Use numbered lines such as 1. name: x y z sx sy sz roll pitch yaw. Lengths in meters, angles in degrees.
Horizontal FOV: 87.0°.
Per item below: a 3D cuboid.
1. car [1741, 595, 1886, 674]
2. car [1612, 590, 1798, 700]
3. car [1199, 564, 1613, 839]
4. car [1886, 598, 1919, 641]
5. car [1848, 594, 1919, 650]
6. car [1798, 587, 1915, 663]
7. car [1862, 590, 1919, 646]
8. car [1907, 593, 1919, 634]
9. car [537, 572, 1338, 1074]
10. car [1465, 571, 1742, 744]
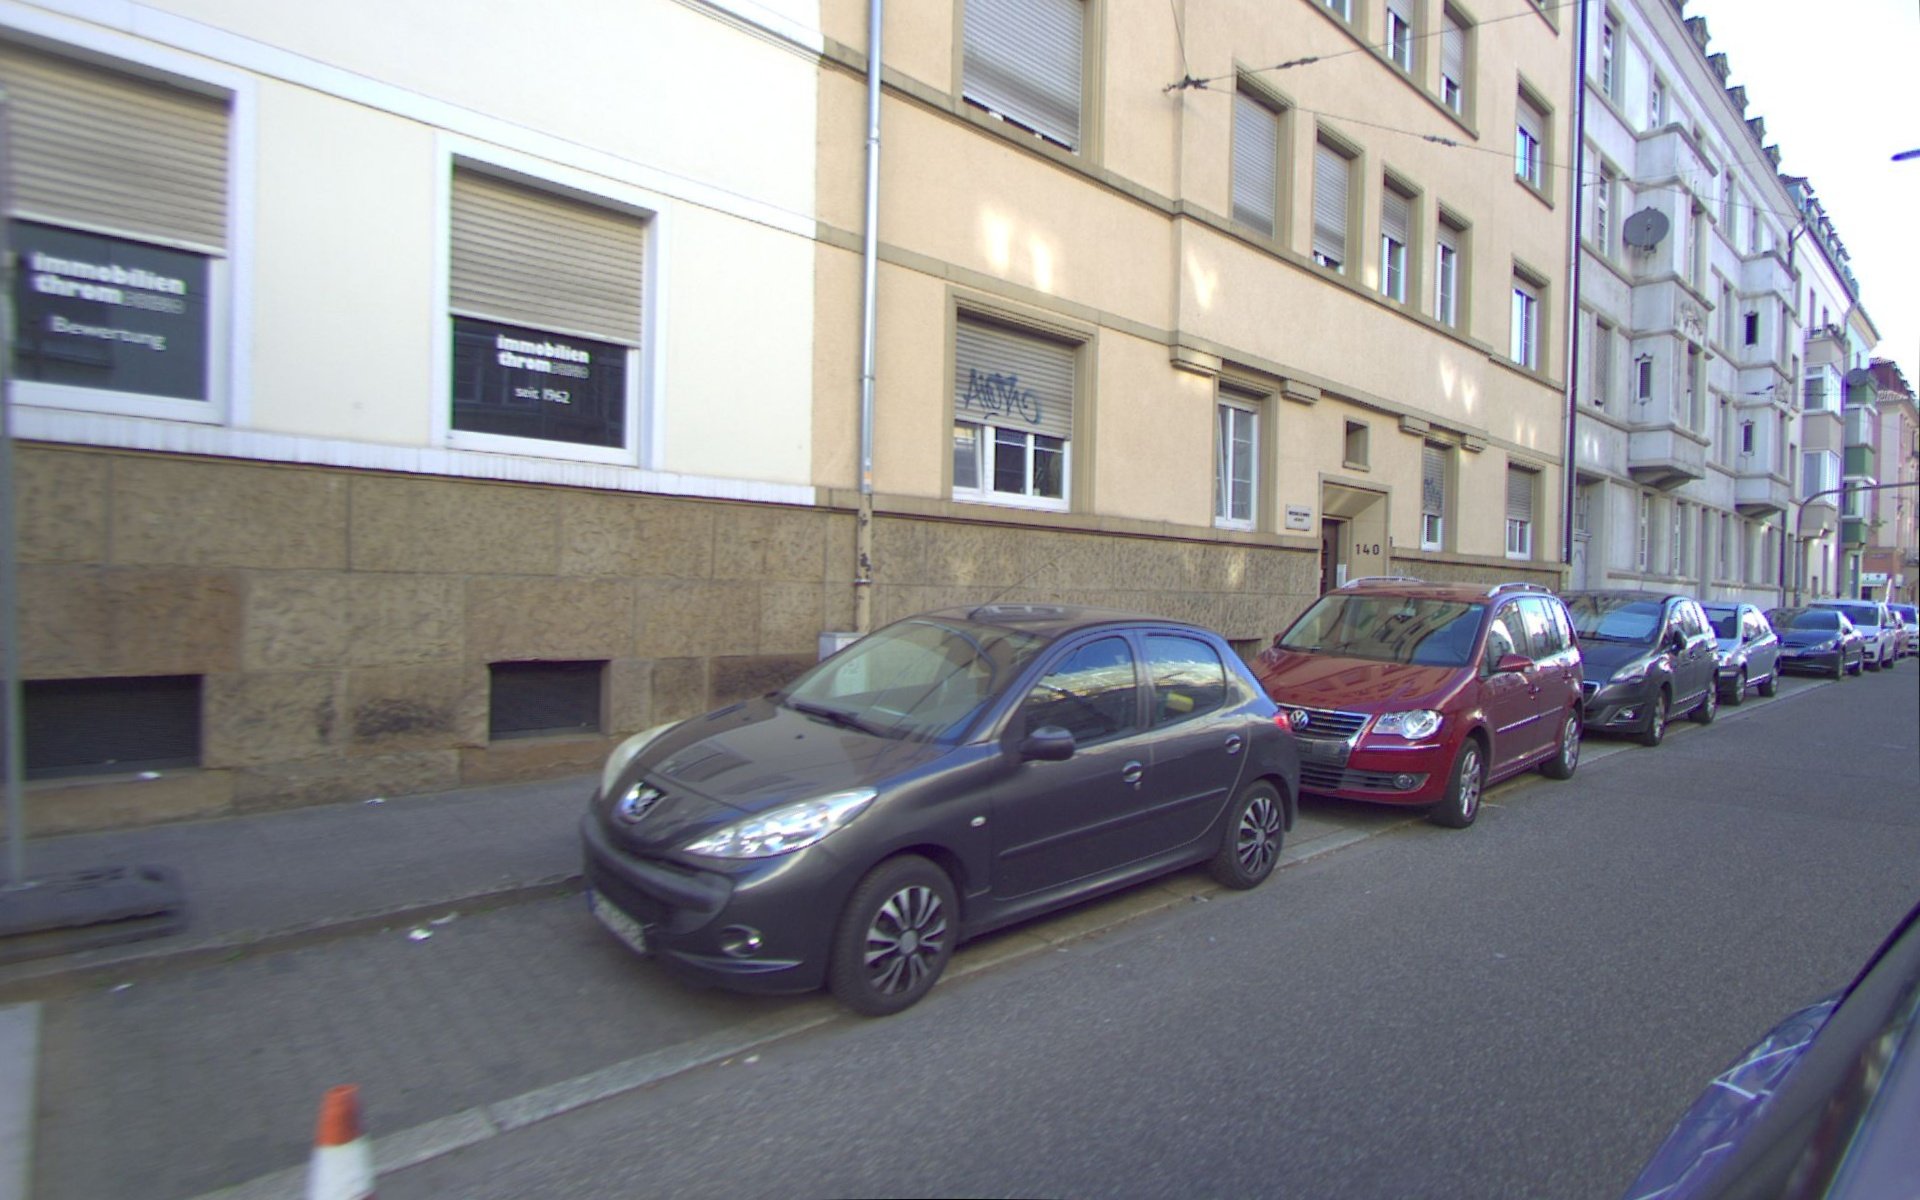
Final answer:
1. car: 18.451 0.683 21.820 4.131 1.470 1.703 0 2 -40
2. car: 11.716 0.627 15.851 3.419 1.481 1.612 0 2 -41
3. car: 3.770 0.596 8.147 4.177 1.629 1.593 0 2 -45
4. car: 35.903 0.732 37.680 3.795 1.524 1.702 0 1 -41
5. car: 28.634 0.644 31.043 3.305 1.502 1.570 0 3 -40
6. car: 22.845 0.585 25.727 4.511 1.714 1.711 0 2 -42
7. car: 31.798 0.585 33.917 4.113 1.719 1.703 0 2 -40
8. car: 39.716 0.568 40.966 3.893 1.610 1.701 0 1 -42
9. car: 0.170 0.664 4.948 3.815 1.481 1.585 0 2 -43
10. car: 7.855 0.553 12.184 4.294 1.672 1.792 0 2 -44
